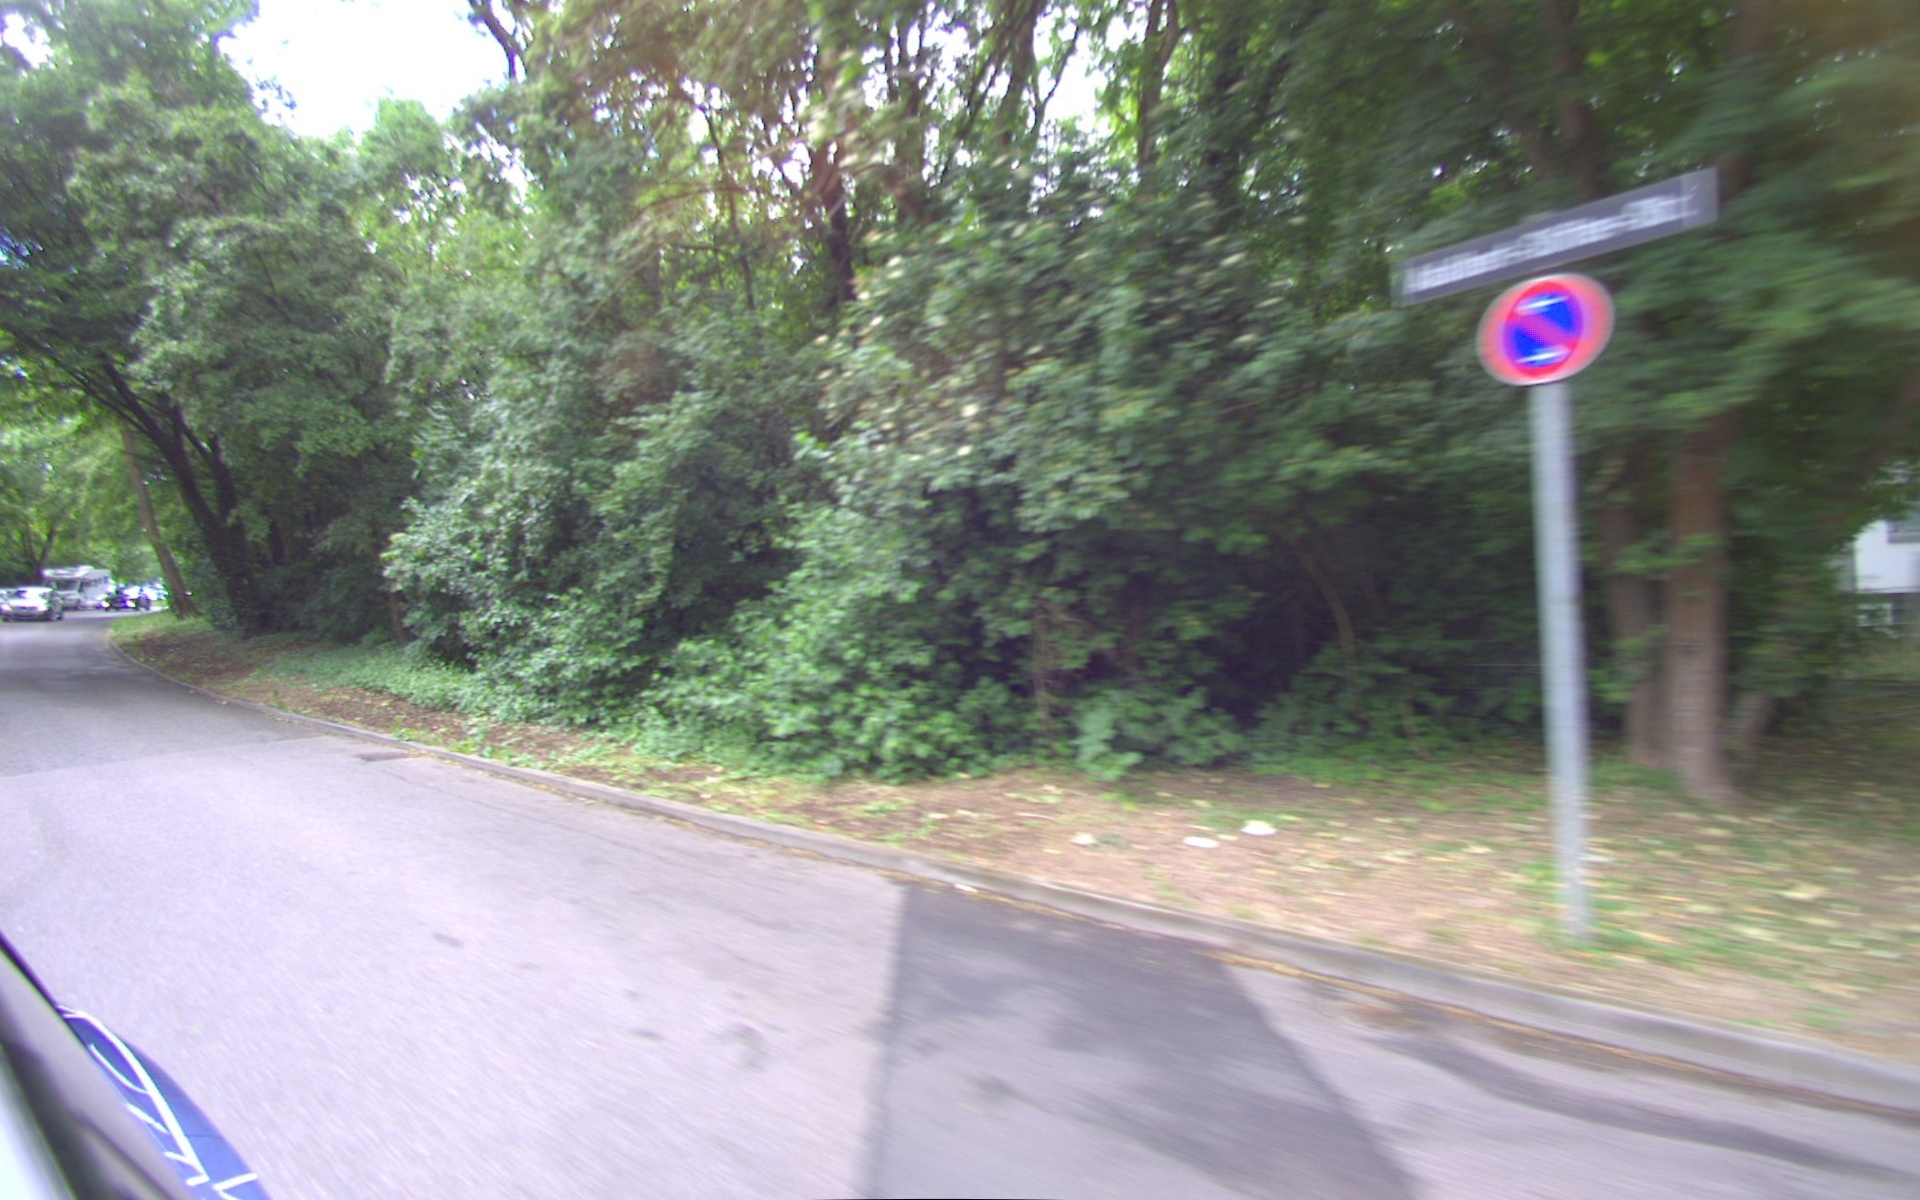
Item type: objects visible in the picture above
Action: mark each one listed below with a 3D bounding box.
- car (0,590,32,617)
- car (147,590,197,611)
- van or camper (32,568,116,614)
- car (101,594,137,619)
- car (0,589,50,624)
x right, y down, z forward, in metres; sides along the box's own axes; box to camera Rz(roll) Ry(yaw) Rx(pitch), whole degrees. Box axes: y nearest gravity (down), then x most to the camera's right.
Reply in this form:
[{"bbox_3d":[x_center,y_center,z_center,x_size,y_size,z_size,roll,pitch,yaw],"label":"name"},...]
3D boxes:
[{"bbox_3d":[-54.954,0.208,58.165,1.665,1.493,4.118,-1,1,-32],"label":"car"},{"bbox_3d":[-63.610,0.015,81.758,1.739,1.580,4.057,-1,1,-16],"label":"car"},{"bbox_3d":[-60.499,-0.635,69.305,2.390,3.002,7.418,-1,1,-26],"label":"van or camper"},{"bbox_3d":[-55.674,0.432,67.039,1.741,1.580,4.053,-1,1,-39],"label":"car"},{"bbox_3d":[-44.651,0.279,48.363,1.630,1.580,4.052,-1,1,-41],"label":"car"}]
